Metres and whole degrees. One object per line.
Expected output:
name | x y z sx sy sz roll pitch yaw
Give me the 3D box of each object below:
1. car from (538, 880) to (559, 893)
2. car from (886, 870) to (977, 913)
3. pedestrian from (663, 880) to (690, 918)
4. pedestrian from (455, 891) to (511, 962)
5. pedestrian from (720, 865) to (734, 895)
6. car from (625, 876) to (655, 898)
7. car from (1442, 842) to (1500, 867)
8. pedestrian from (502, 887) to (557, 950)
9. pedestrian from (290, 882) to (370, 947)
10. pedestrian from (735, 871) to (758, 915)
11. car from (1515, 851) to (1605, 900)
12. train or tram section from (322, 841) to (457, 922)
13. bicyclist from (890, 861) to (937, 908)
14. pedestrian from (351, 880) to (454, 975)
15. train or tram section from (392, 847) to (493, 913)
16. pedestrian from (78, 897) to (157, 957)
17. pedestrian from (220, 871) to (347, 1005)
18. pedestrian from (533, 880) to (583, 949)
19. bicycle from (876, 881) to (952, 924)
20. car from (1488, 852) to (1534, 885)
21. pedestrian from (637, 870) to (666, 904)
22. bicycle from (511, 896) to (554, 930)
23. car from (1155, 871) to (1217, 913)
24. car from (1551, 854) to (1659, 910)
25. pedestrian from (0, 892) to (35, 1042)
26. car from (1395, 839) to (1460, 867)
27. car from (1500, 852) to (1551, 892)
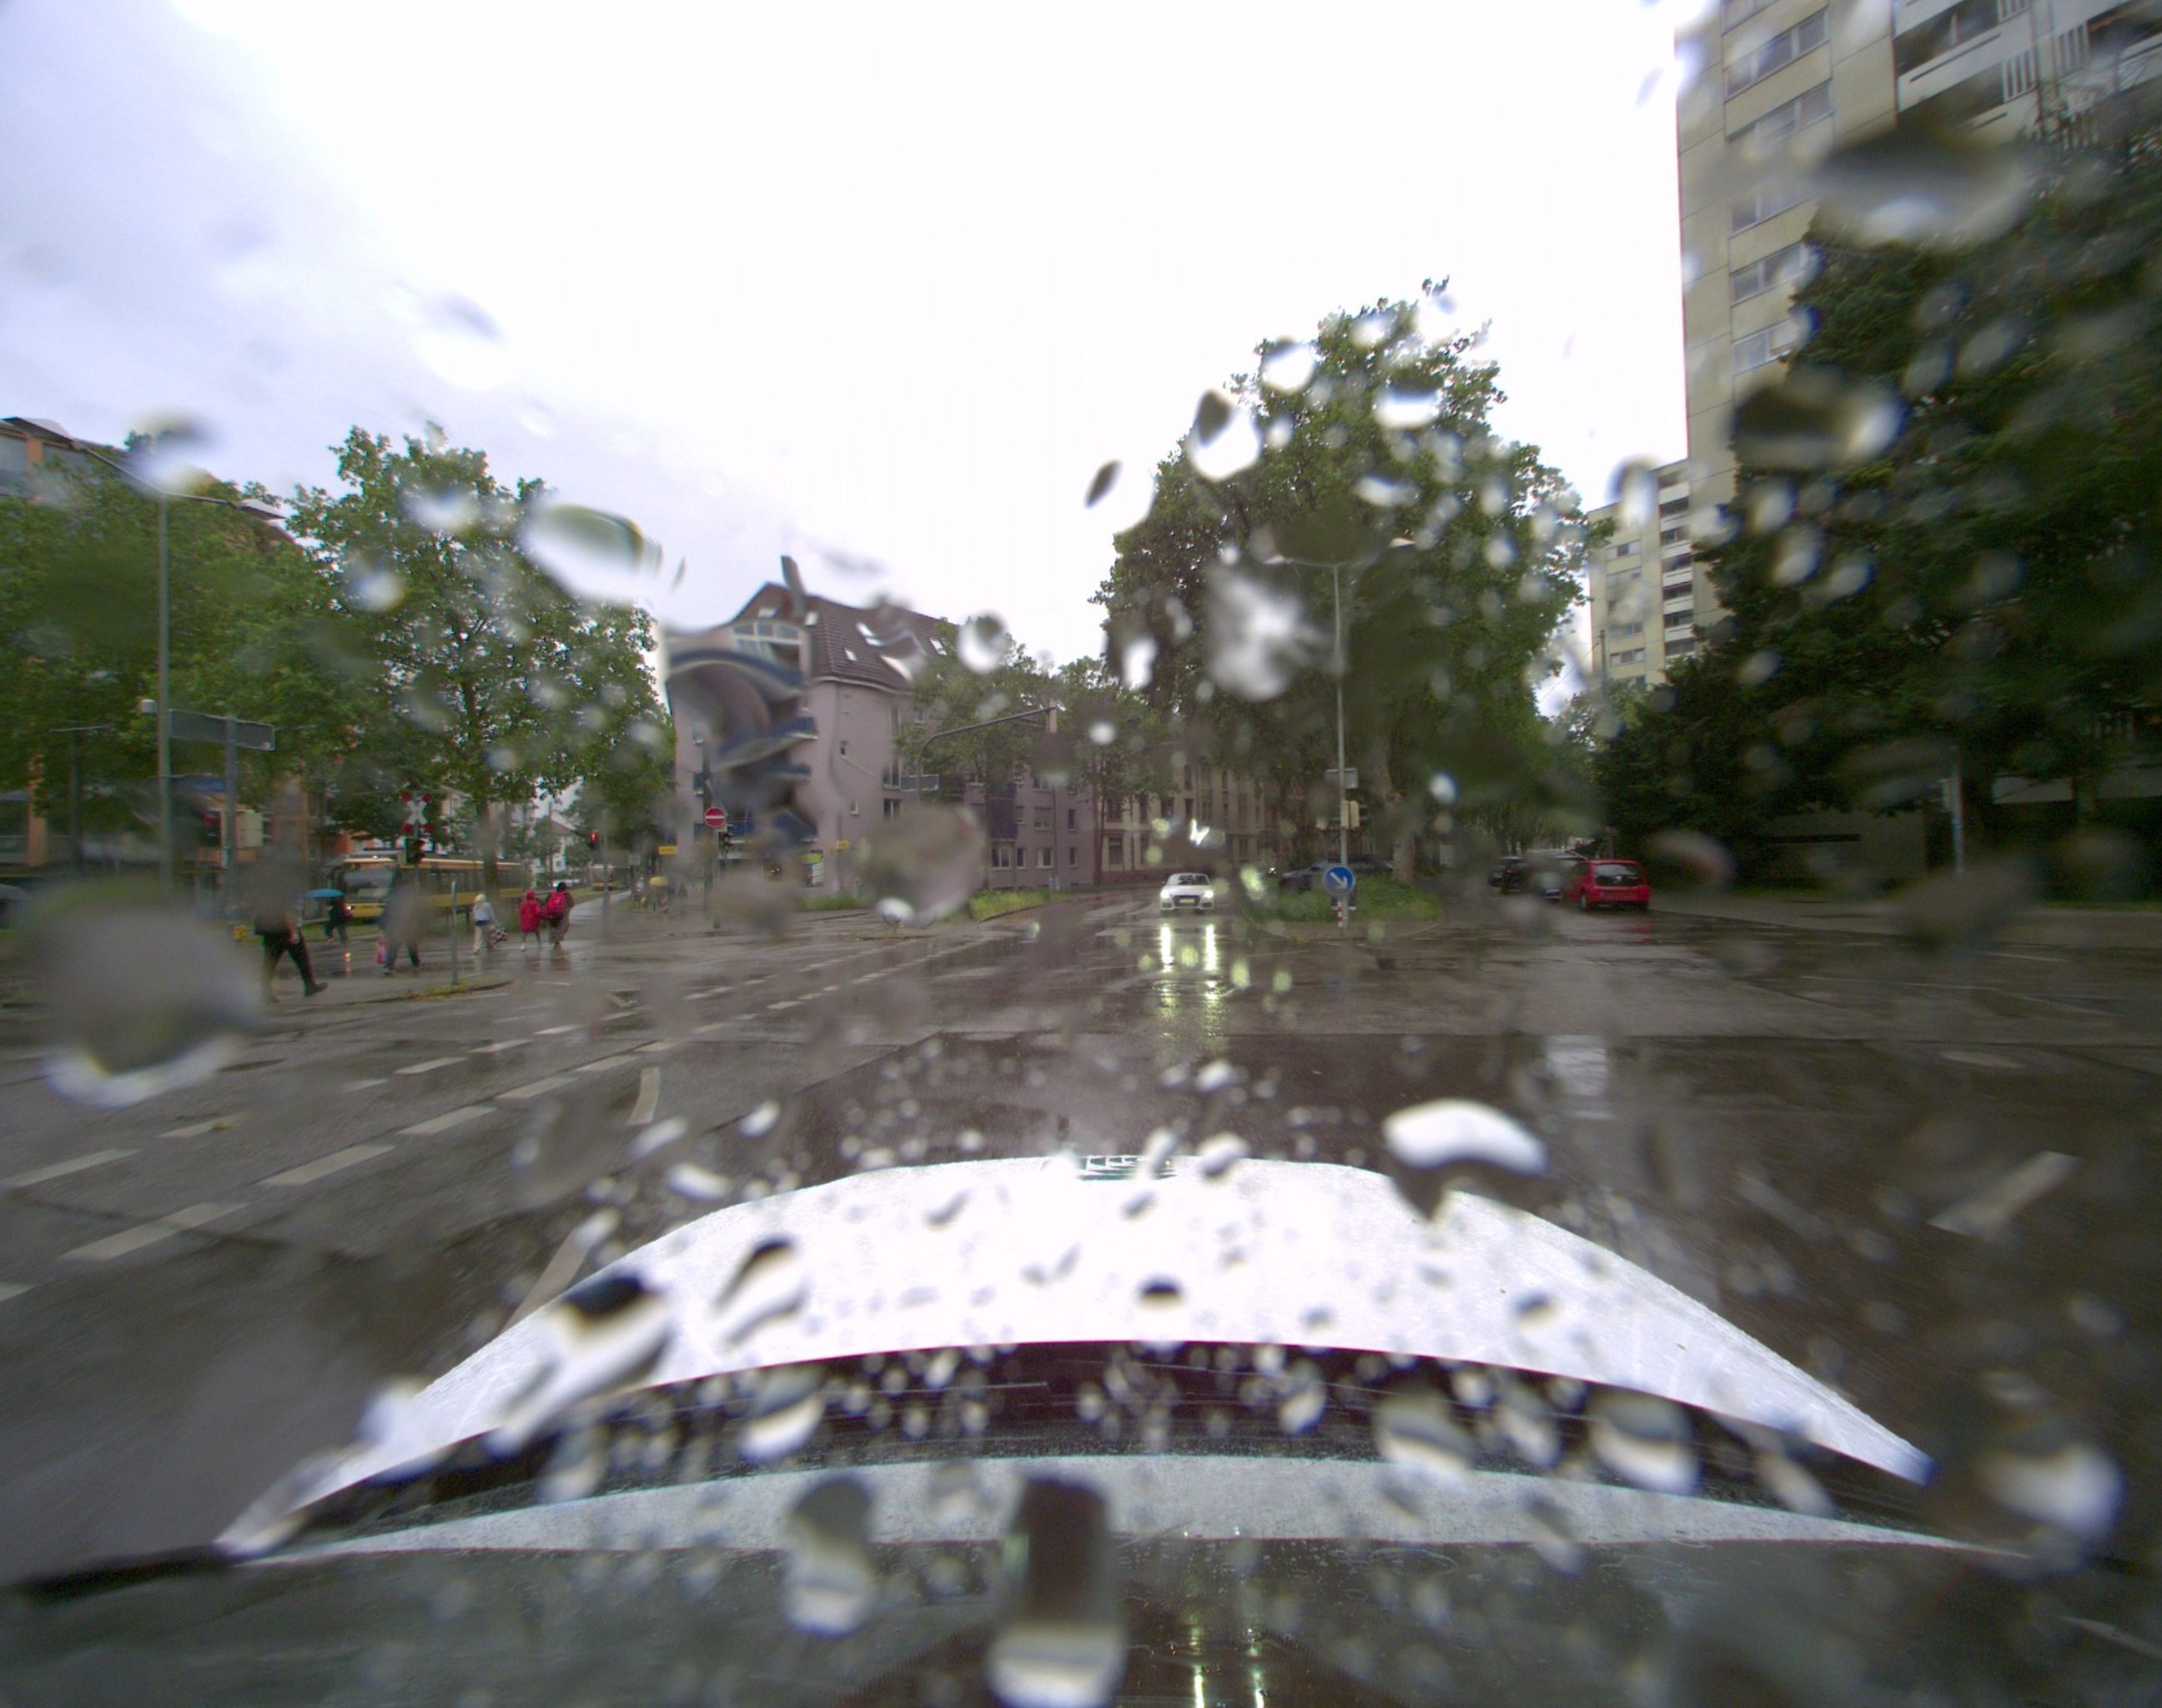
car | -69.721 4.233 106.685 2.006 1.533 3.961 -1 -1 -30
car | -5.703 1.404 31.652 1.975 1.461 4.191 -1 -1 12
pedestrian | -17.432 1.932 35.138 0.997 1.559 0.777 -2 -1 -26
pedestrian | -13.911 1.658 18.979 0.881 1.525 1.055 -1 0 -29
pedestrian | -19.258 1.407 44.253 0.470 1.602 0.593 -1 -1 0
car | -36.089 2.649 66.696 2.004 1.673 3.965 -2 0 -27
car | 43.543 0.052 91.131 2.002 2.649 5.925 -1 -1 -23
pedestrian | -12.981 1.499 19.187 0.671 1.381 1.007 -2 0 -9
pedestrian | -22.728 1.824 24.667 1.371 1.865 1.178 -2 -1 12
pedestrian | -14.058 1.635 34.244 0.637 1.804 0.623 -2 0 9
car | 17.087 0.749 29.272 1.918 1.608 4.477 -2 -1 20
train or tram section | -32.342 1.234 38.500 2.650 3.369 8.308 -1 -1 -24
bicyclist | -4.877 0.882 23.691 1.064 1.309 0.746 -2 0 20
pedestrian | -12.813 1.359 15.410 0.988 1.686 1.057 -2 0 4
train or tram section | -35.817 1.437 46.028 2.651 3.351 8.305 -1 -1 -25
pedestrian | -30.505 2.299 25.810 1.230 1.789 1.037 -1 -1 -3
pedestrian | -11.429 1.164 11.711 0.808 1.781 0.993 -2 0 -4
pedestrian | -12.309 1.403 19.184 0.690 1.548 0.759 -2 0 -8
bicycle | -4.855 1.407 23.684 2.017 1.173 0.757 -2 0 20
car | 23.243 0.770 44.145 1.908 1.633 4.022 -2 -1 24
pedestrian | -23.131 1.755 43.847 1.173 1.788 0.883 -1 -1 -45
bicycle | -18.619 1.987 27.672 0.444 1.077 1.616 -1 -1 -4
car | 3.718 1.261 28.246 1.885 1.275 4.183 -2 -1 10
car | 15.581 0.806 24.416 1.822 1.525 3.476 -2 -1 17
pedestrian | -11.855 1.217 8.530 0.638 1.581 0.864 -2 0 4
car | 31.919 -0.086 75.164 2.235 2.401 5.566 -1 -1 -21
car | 19.115 0.756 35.102 1.817 1.596 3.507 -2 -1 28
